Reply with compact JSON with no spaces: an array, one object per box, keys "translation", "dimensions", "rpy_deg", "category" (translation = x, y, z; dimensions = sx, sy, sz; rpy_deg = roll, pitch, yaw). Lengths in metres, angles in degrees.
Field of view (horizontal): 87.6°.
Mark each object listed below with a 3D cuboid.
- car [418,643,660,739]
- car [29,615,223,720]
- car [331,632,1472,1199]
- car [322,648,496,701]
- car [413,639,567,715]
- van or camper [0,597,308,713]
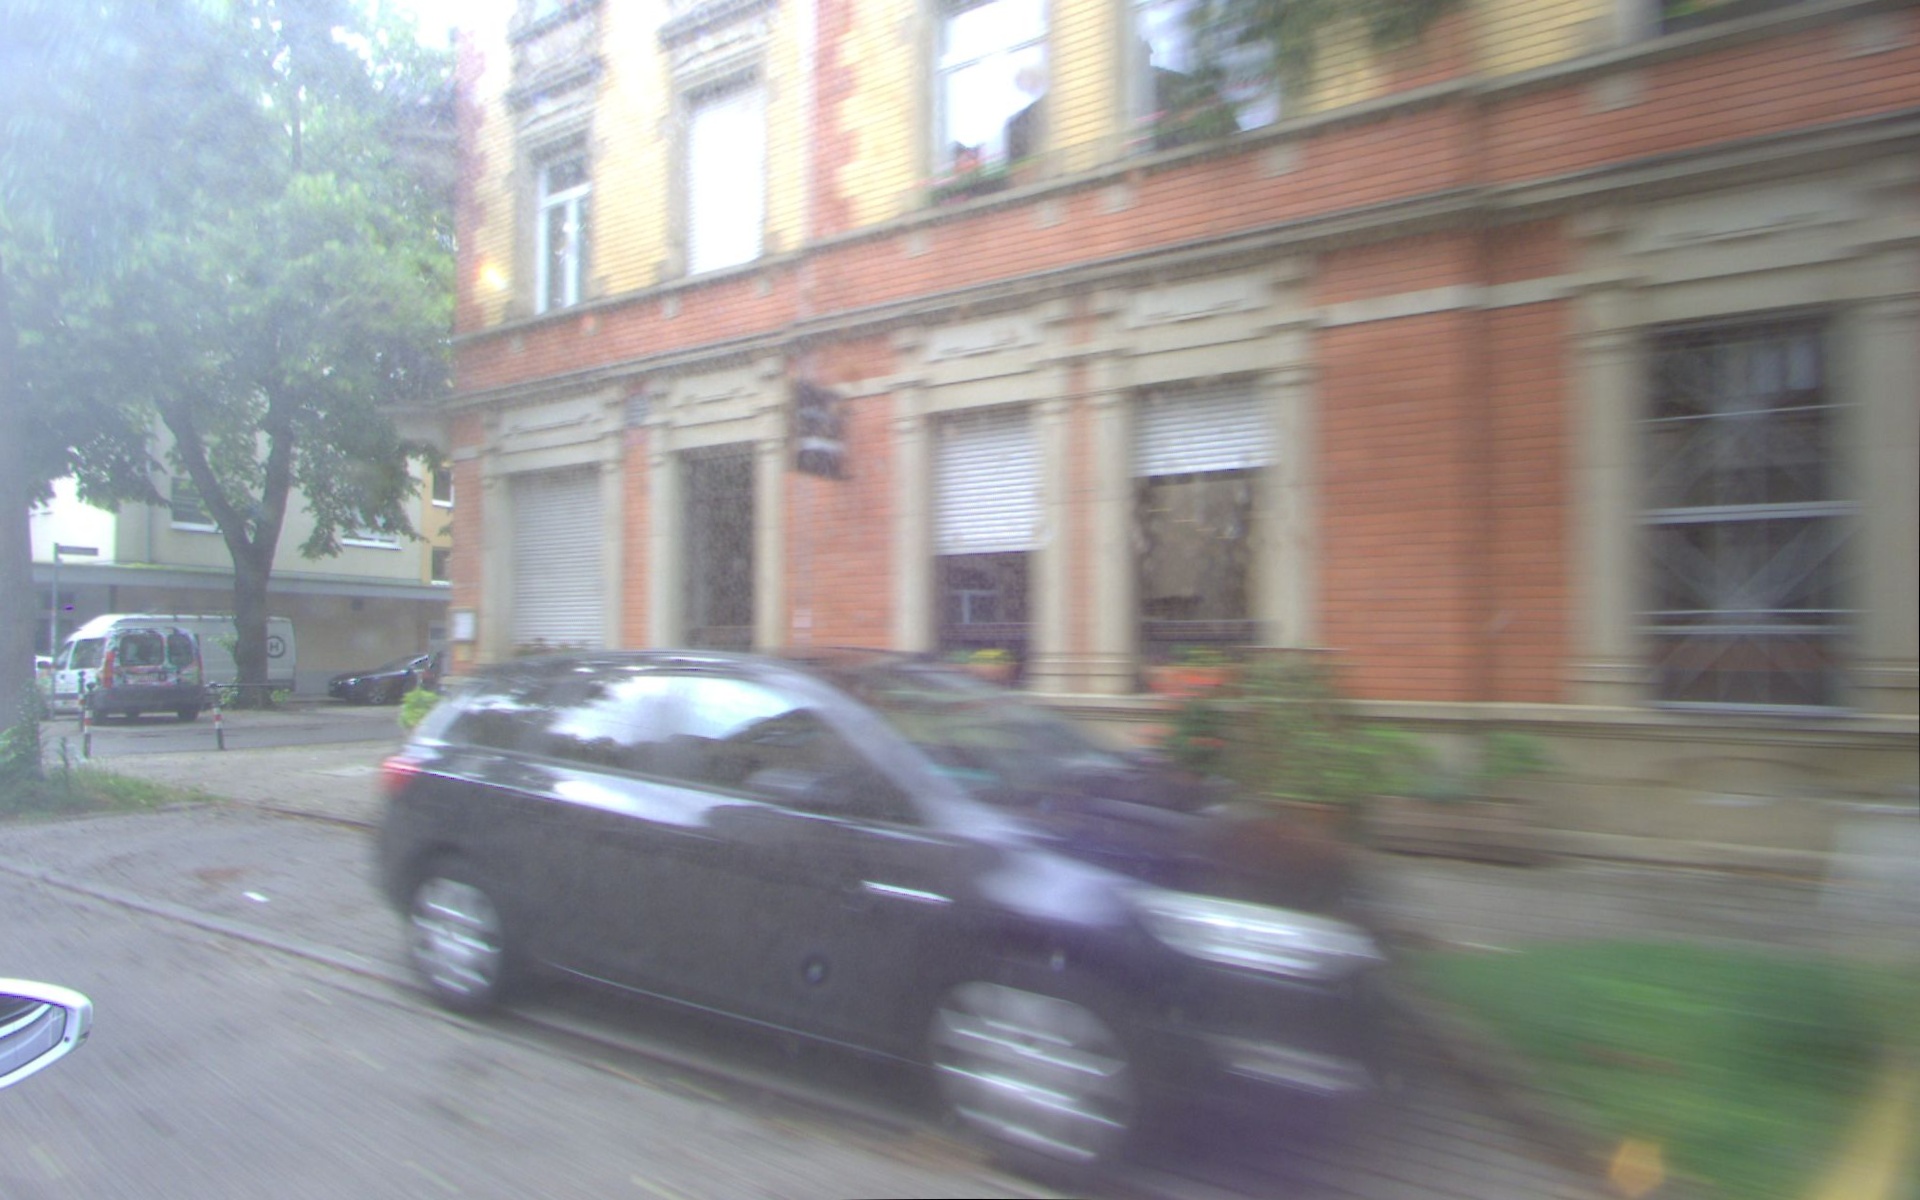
[{"translation":[-7.584,1.603,18.342],"dimensions":[1.639,1.559,3.812],"rpy_deg":[-3,-4,36],"category":"car"},{"translation":[-16.284,1.269,19.516],"dimensions":[3.943,1.842,1.767],"rpy_deg":[-1,-3,32],"category":"car"},{"translation":[-0.424,0.903,4.085],"dimensions":[4.412,1.505,1.762],"rpy_deg":[-1,-1,30],"category":"car"},{"translation":[-16.331,2.157,29.838],"dimensions":[1.886,1.446,4.149],"rpy_deg":[-2,-3,41],"category":"car"},{"translation":[-11.016,1.761,23.782],"dimensions":[1.652,1.601,3.955],"rpy_deg":[1,-2,2],"category":"car"},{"translation":[-20.197,1.338,25.364],"dimensions":[2.108,2.527,5.753],"rpy_deg":[3,-1,37],"category":"van or camper"}]
